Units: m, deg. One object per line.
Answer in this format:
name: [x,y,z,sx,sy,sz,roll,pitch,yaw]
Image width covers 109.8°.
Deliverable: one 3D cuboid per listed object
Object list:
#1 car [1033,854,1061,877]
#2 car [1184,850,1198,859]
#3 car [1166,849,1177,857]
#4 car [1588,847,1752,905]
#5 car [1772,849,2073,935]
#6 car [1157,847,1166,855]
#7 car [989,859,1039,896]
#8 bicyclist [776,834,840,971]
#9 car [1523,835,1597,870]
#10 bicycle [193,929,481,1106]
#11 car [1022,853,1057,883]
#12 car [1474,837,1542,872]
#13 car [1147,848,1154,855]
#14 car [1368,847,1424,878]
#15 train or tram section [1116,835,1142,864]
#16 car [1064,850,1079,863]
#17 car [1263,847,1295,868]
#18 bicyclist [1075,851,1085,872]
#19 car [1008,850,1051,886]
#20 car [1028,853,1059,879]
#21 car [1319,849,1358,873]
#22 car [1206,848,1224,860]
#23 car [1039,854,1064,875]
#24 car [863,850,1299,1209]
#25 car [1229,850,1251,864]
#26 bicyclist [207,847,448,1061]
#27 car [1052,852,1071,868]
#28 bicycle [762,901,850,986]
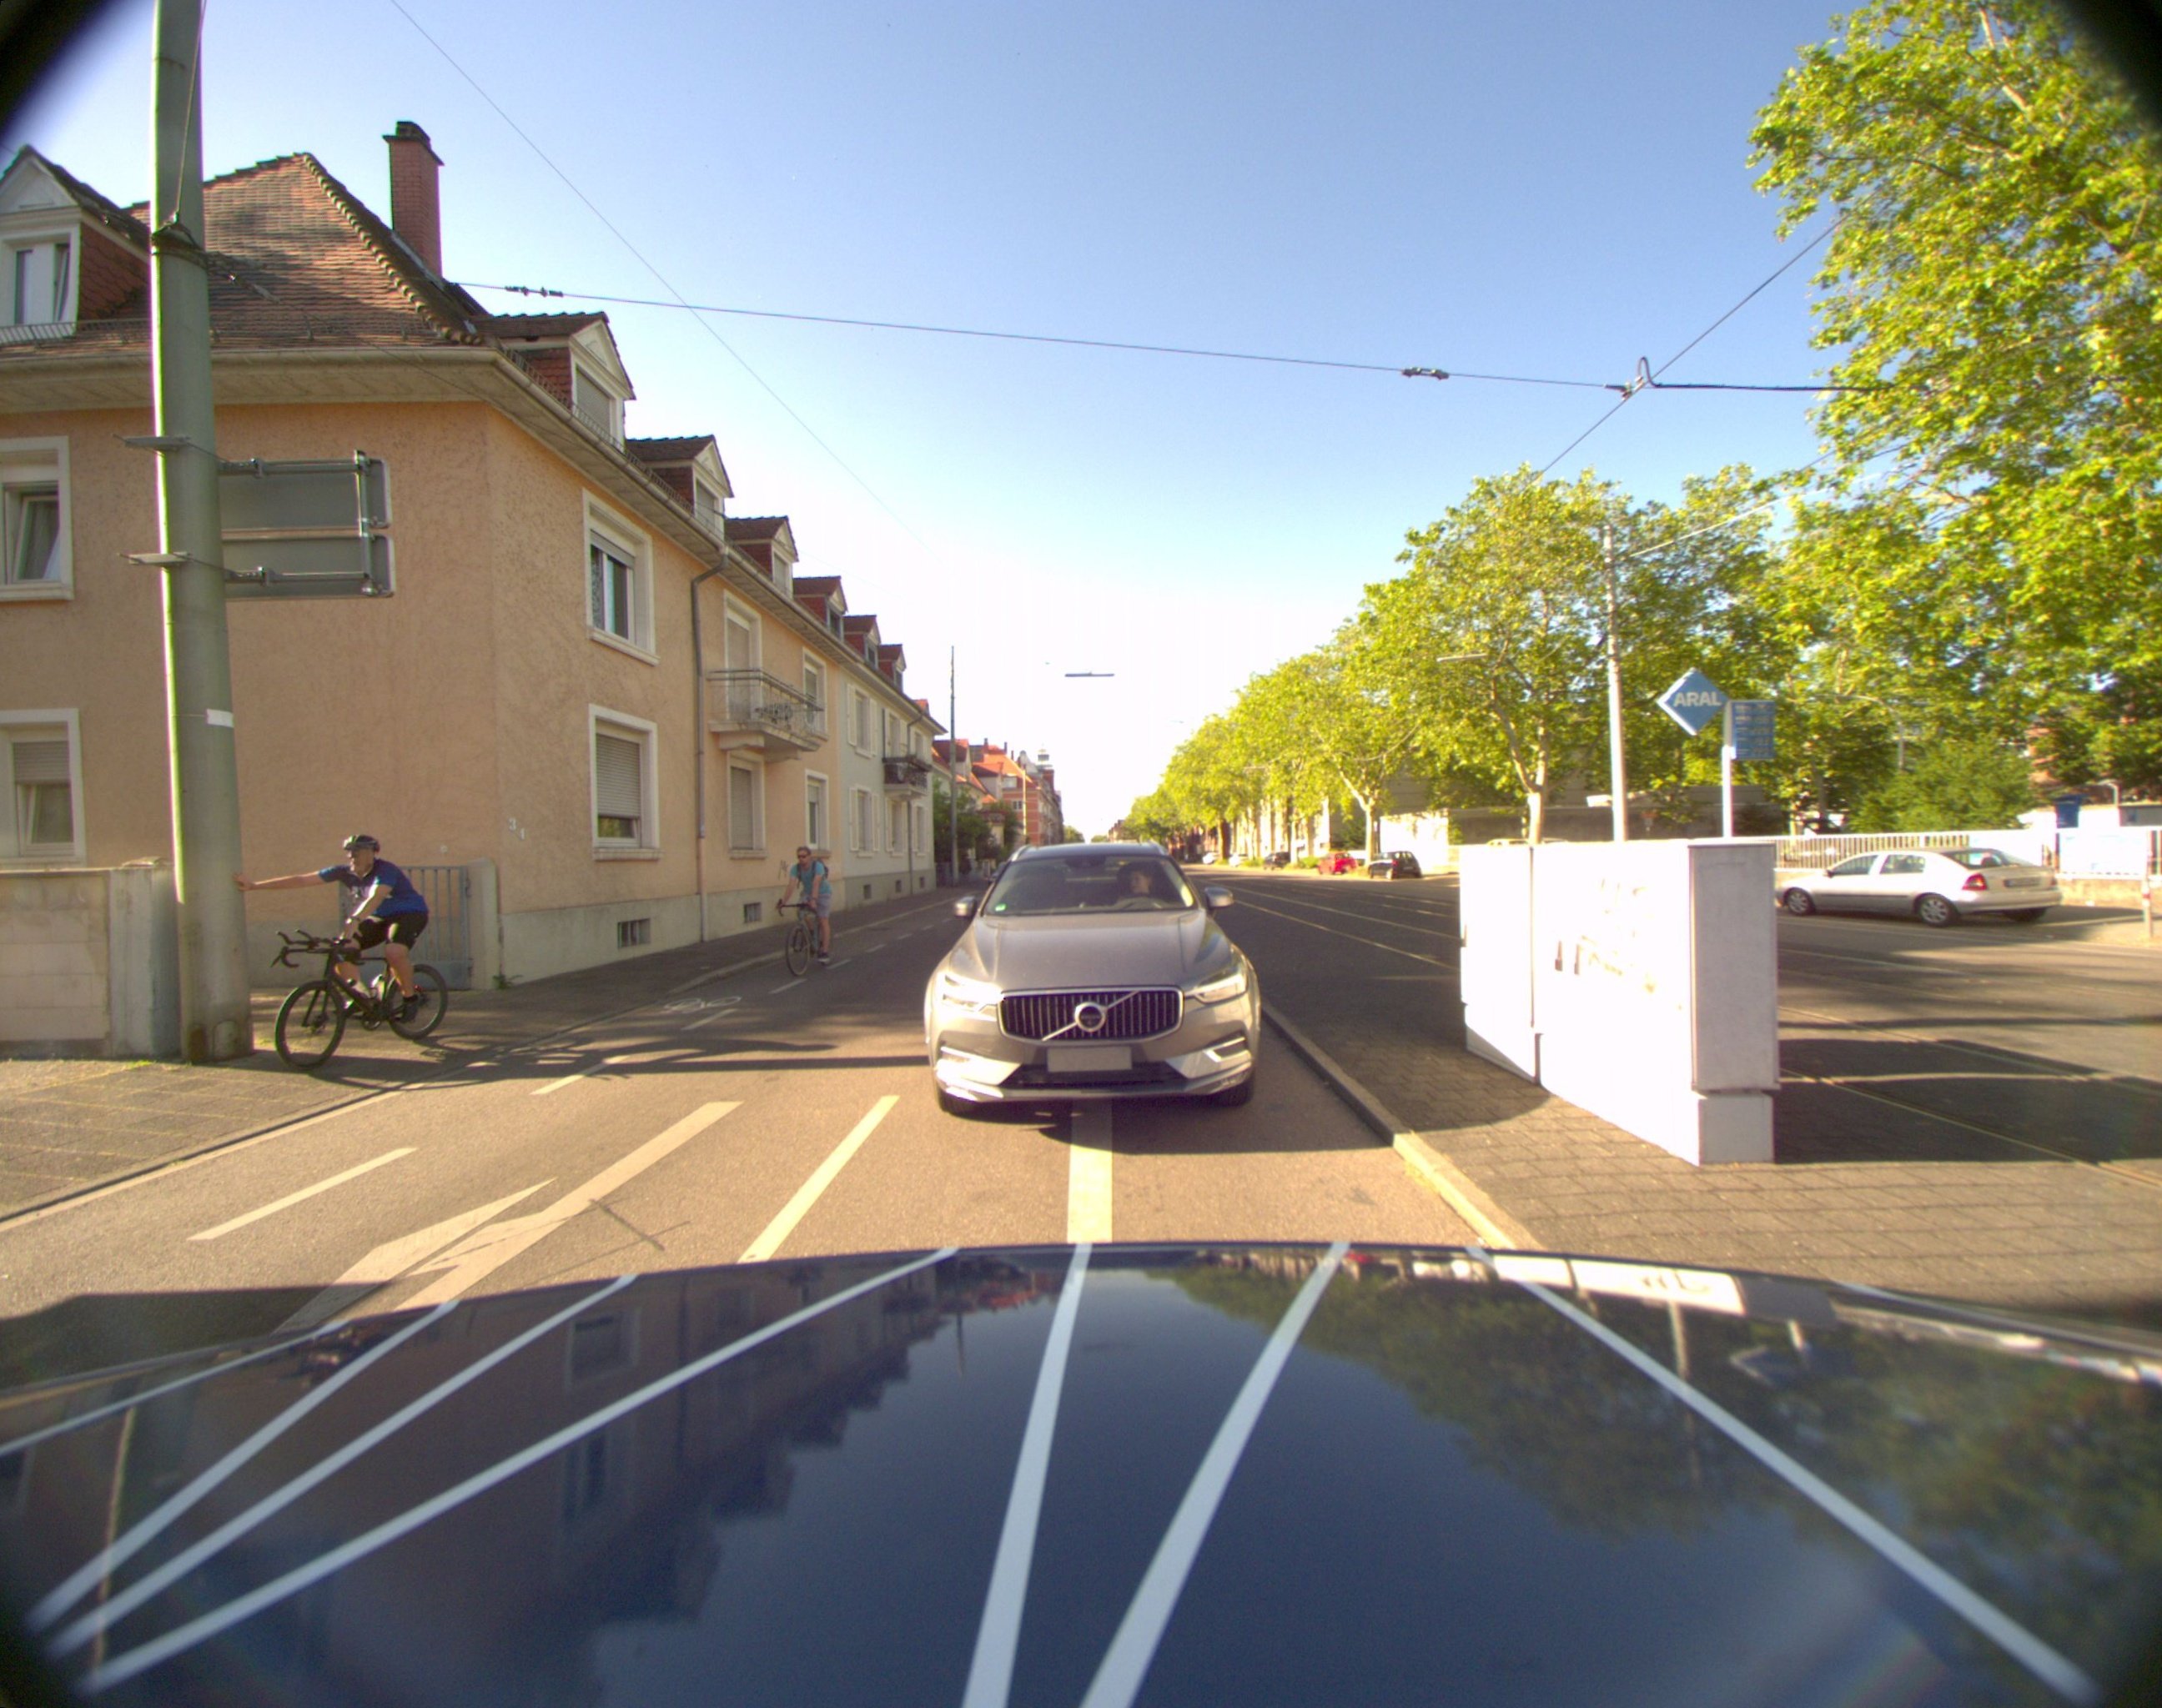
car: [-2.719,0.888,61.031,1.793,1.673,3.814,-3,0,2]
car: [18.202,0.075,125.524,1.695,1.440,3.749,-3,0,1]
car: [19.273,-0.190,161.877,1.695,1.440,3.749,-3,0,1]
car: [16.410,0.562,21.417,1.695,1.395,3.749,-3,0,1]
car: [16.225,0.642,14.982,1.695,1.395,3.813,-3,0,1]
car: [20.246,-0.723,191.415,1.695,1.775,3.749,-3,0,1]
car: [-3.223,1.085,37.048,1.695,1.571,3.815,-3,0,5]
bicyclist: [-4.007,0.709,11.199,0.519,1.922,0.946,-1,-2,4]
car: [23.879,-0.079,38.026,1.599,1.583,3.304,-2,0,1]
bicycle: [-6.027,1.260,6.326,0.592,1.062,1.775,4,0,1]
car: [-2.585,0.856,48.486,1.793,1.673,3.814,-3,0,2]
car: [21.546,0.017,38.474,1.599,1.606,3.304,-2,0,1]
car: [19.663,-0.618,214.808,1.695,1.775,3.749,-3,0,1]
car: [16.885,0.429,40.896,1.599,1.498,3.304,-3,0,1]
train or tram section: [6.357,-0.618,101.739,2.717,3.643,12.653,-1,0,0]
car: [-1.291,0.367,107.104,1.793,1.673,3.814,-3,0,2]
car: [17.138,0.276,65.890,1.695,1.648,3.749,-3,0,1]
bicyclist: [-0.058,0.602,59.713,0.685,1.611,0.855,-2,1,1]
car: [-2.824,0.743,42.821,1.793,1.828,5.149,-3,0,2]
car: [-2.632,0.837,54.006,1.793,1.673,3.814,-3,0,2]
car: [16.878,0.437,49.867,1.599,1.498,2.622,-3,0,1]
car: [17.795,0.029,100.715,1.695,1.440,3.749,-3,0,1]
car: [-2.551,0.862,67.076,1.793,1.673,3.814,-3,0,2]
car: [0.029,0.828,5.754,1.998,1.628,4.306,-2,0,1]
car: [17.465,0.295,83.544,1.695,1.440,3.749,-3,0,1]
bicyclist: [-6.227,0.777,6.348,1.051,1.599,0.885,4,0,1]
car: [-2.149,0.637,85.371,1.793,1.673,3.814,-3,0,2]
bicycle: [-3.995,1.271,11.192,0.519,1.084,1.797,-1,-2,4]
